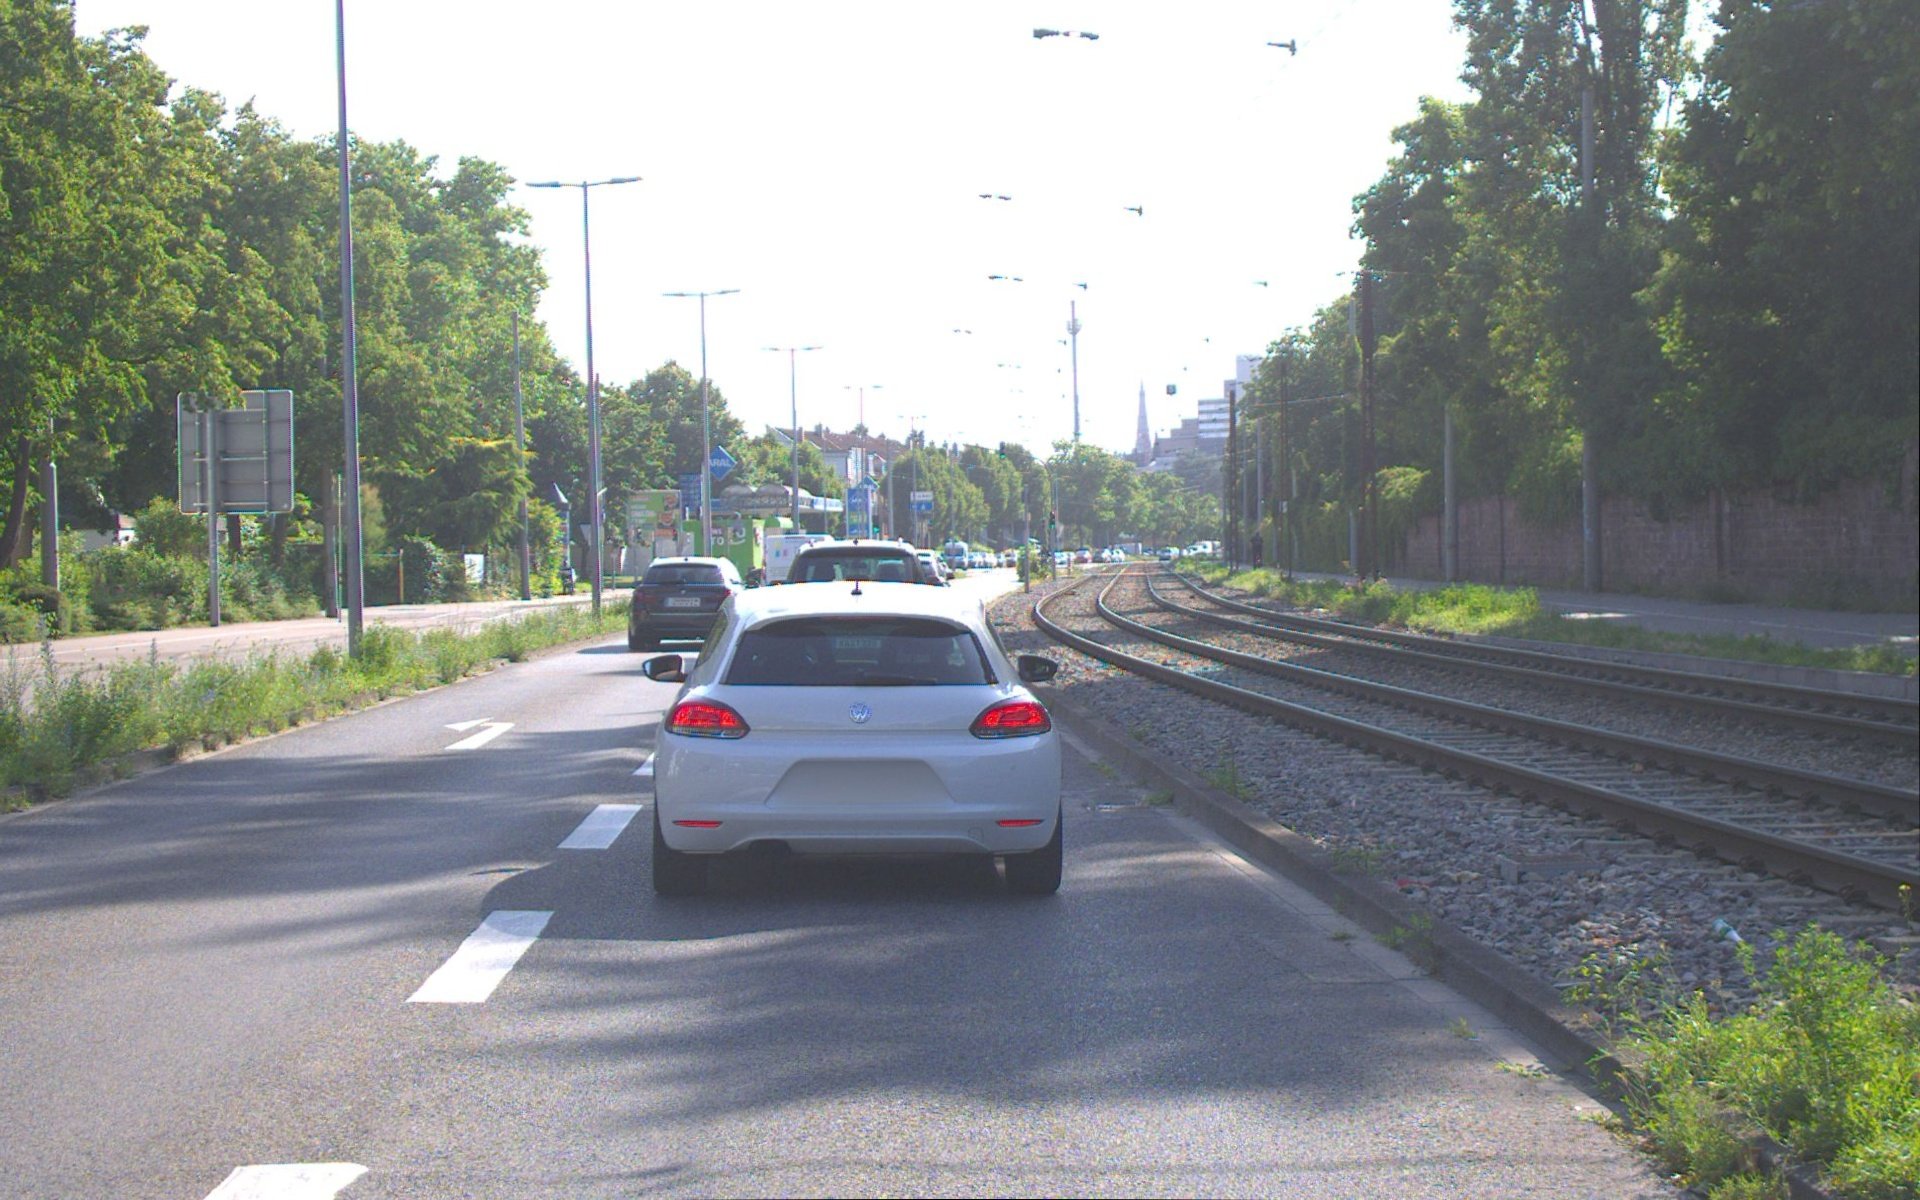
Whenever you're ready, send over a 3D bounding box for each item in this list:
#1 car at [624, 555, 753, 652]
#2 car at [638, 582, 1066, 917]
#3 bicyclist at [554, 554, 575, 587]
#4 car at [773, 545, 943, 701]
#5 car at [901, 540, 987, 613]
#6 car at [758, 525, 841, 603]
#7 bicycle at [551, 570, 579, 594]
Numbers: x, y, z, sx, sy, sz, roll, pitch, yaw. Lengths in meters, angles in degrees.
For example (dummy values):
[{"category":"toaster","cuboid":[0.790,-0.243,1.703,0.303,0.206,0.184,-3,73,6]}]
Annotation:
[{"category":"car","cuboid":[-4.339,0.030,55.565,1.760,1.480,4.645,0,1,-1]},{"category":"car","cuboid":[-0.472,0.615,16.166,1.781,1.351,3.601,0,1,-1]},{"category":"bicyclist","cuboid":[-17.769,-1.327,154.421,0.662,1.447,1.050,-1,1,6]},{"category":"car","cuboid":[-1.065,0.208,36.902,1.724,1.587,3.601,0,1,-1]},{"category":"car","cuboid":[-0.357,-0.501,72.252,1.749,1.480,3.601,0,1,-1]},{"category":"car","cuboid":[-4.220,-0.951,90.967,1.818,1.956,4.402,-1,0,2]},{"category":"bicycle","cuboid":[-17.752,-0.794,154.456,0.662,1.046,2.580,-1,1,6]}]
